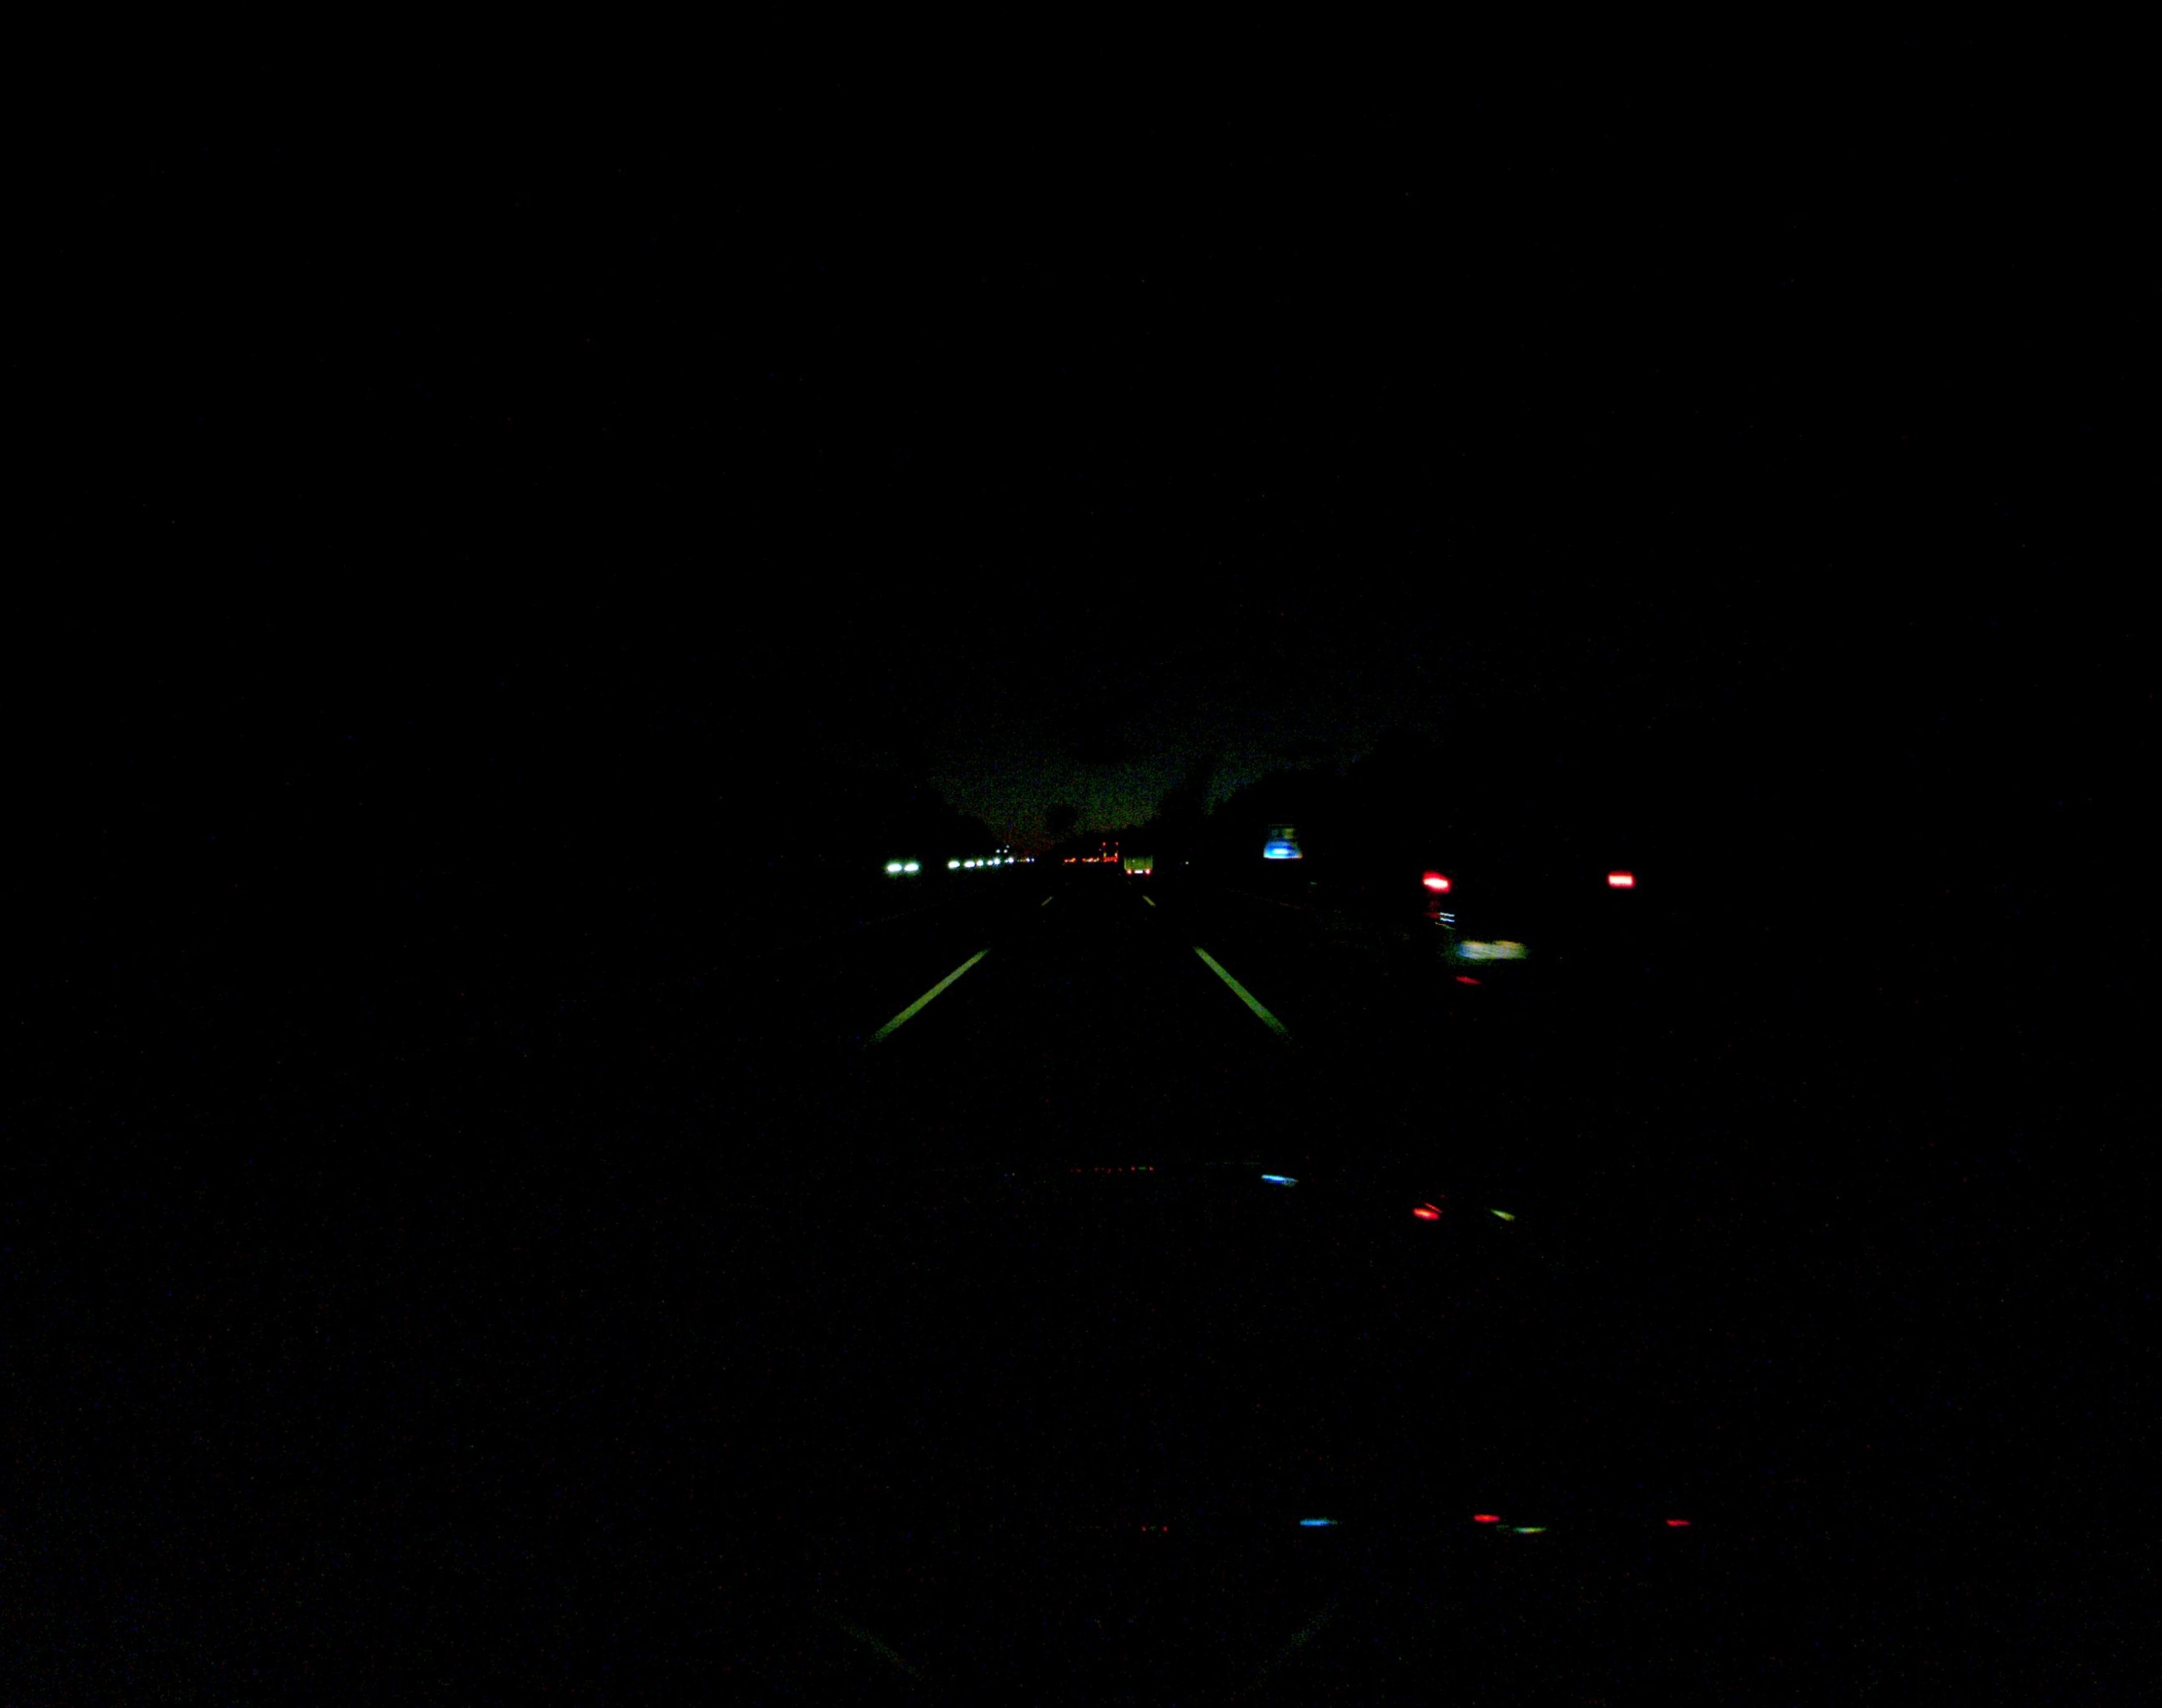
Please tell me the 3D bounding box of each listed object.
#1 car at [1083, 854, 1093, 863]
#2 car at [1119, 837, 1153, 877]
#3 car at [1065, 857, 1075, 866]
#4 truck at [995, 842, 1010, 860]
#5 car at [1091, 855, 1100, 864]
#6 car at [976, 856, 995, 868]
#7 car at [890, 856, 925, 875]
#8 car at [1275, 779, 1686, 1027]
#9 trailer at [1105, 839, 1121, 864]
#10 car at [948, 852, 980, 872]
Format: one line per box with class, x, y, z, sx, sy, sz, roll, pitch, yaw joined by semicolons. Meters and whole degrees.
car;1.502;1.028;176.253;1.985;1.794;4.002;-1;-2;3
car;3.824;0.234;57.690;2.025;2.647;5.724;-1;-1;0
car;-2.126;1.510;162.360;1.987;1.794;3.998;-1;-2;0
truck;-17.765;-0.582;184.716;2.845;3.980;5.858;-1;0;0
car;3.639;1.389;208.891;1.989;2.117;3.994;-1;-2;-3
car;-13.856;1.101;118.440;2.002;1.669;4.951;-1;0;2
car;-14.578;0.937;68.644;2.003;1.467;4.209;-1;0;1
car;3.946;0.424;9.506;2.108;2.001;5.665;-1;-1;1
trailer;6.234;-0.449;161.281;2.819;4.257;17.047;-1;-2;1
car;-10.310;0.681;71.929;2.002;1.669;4.485;-1;0;2
